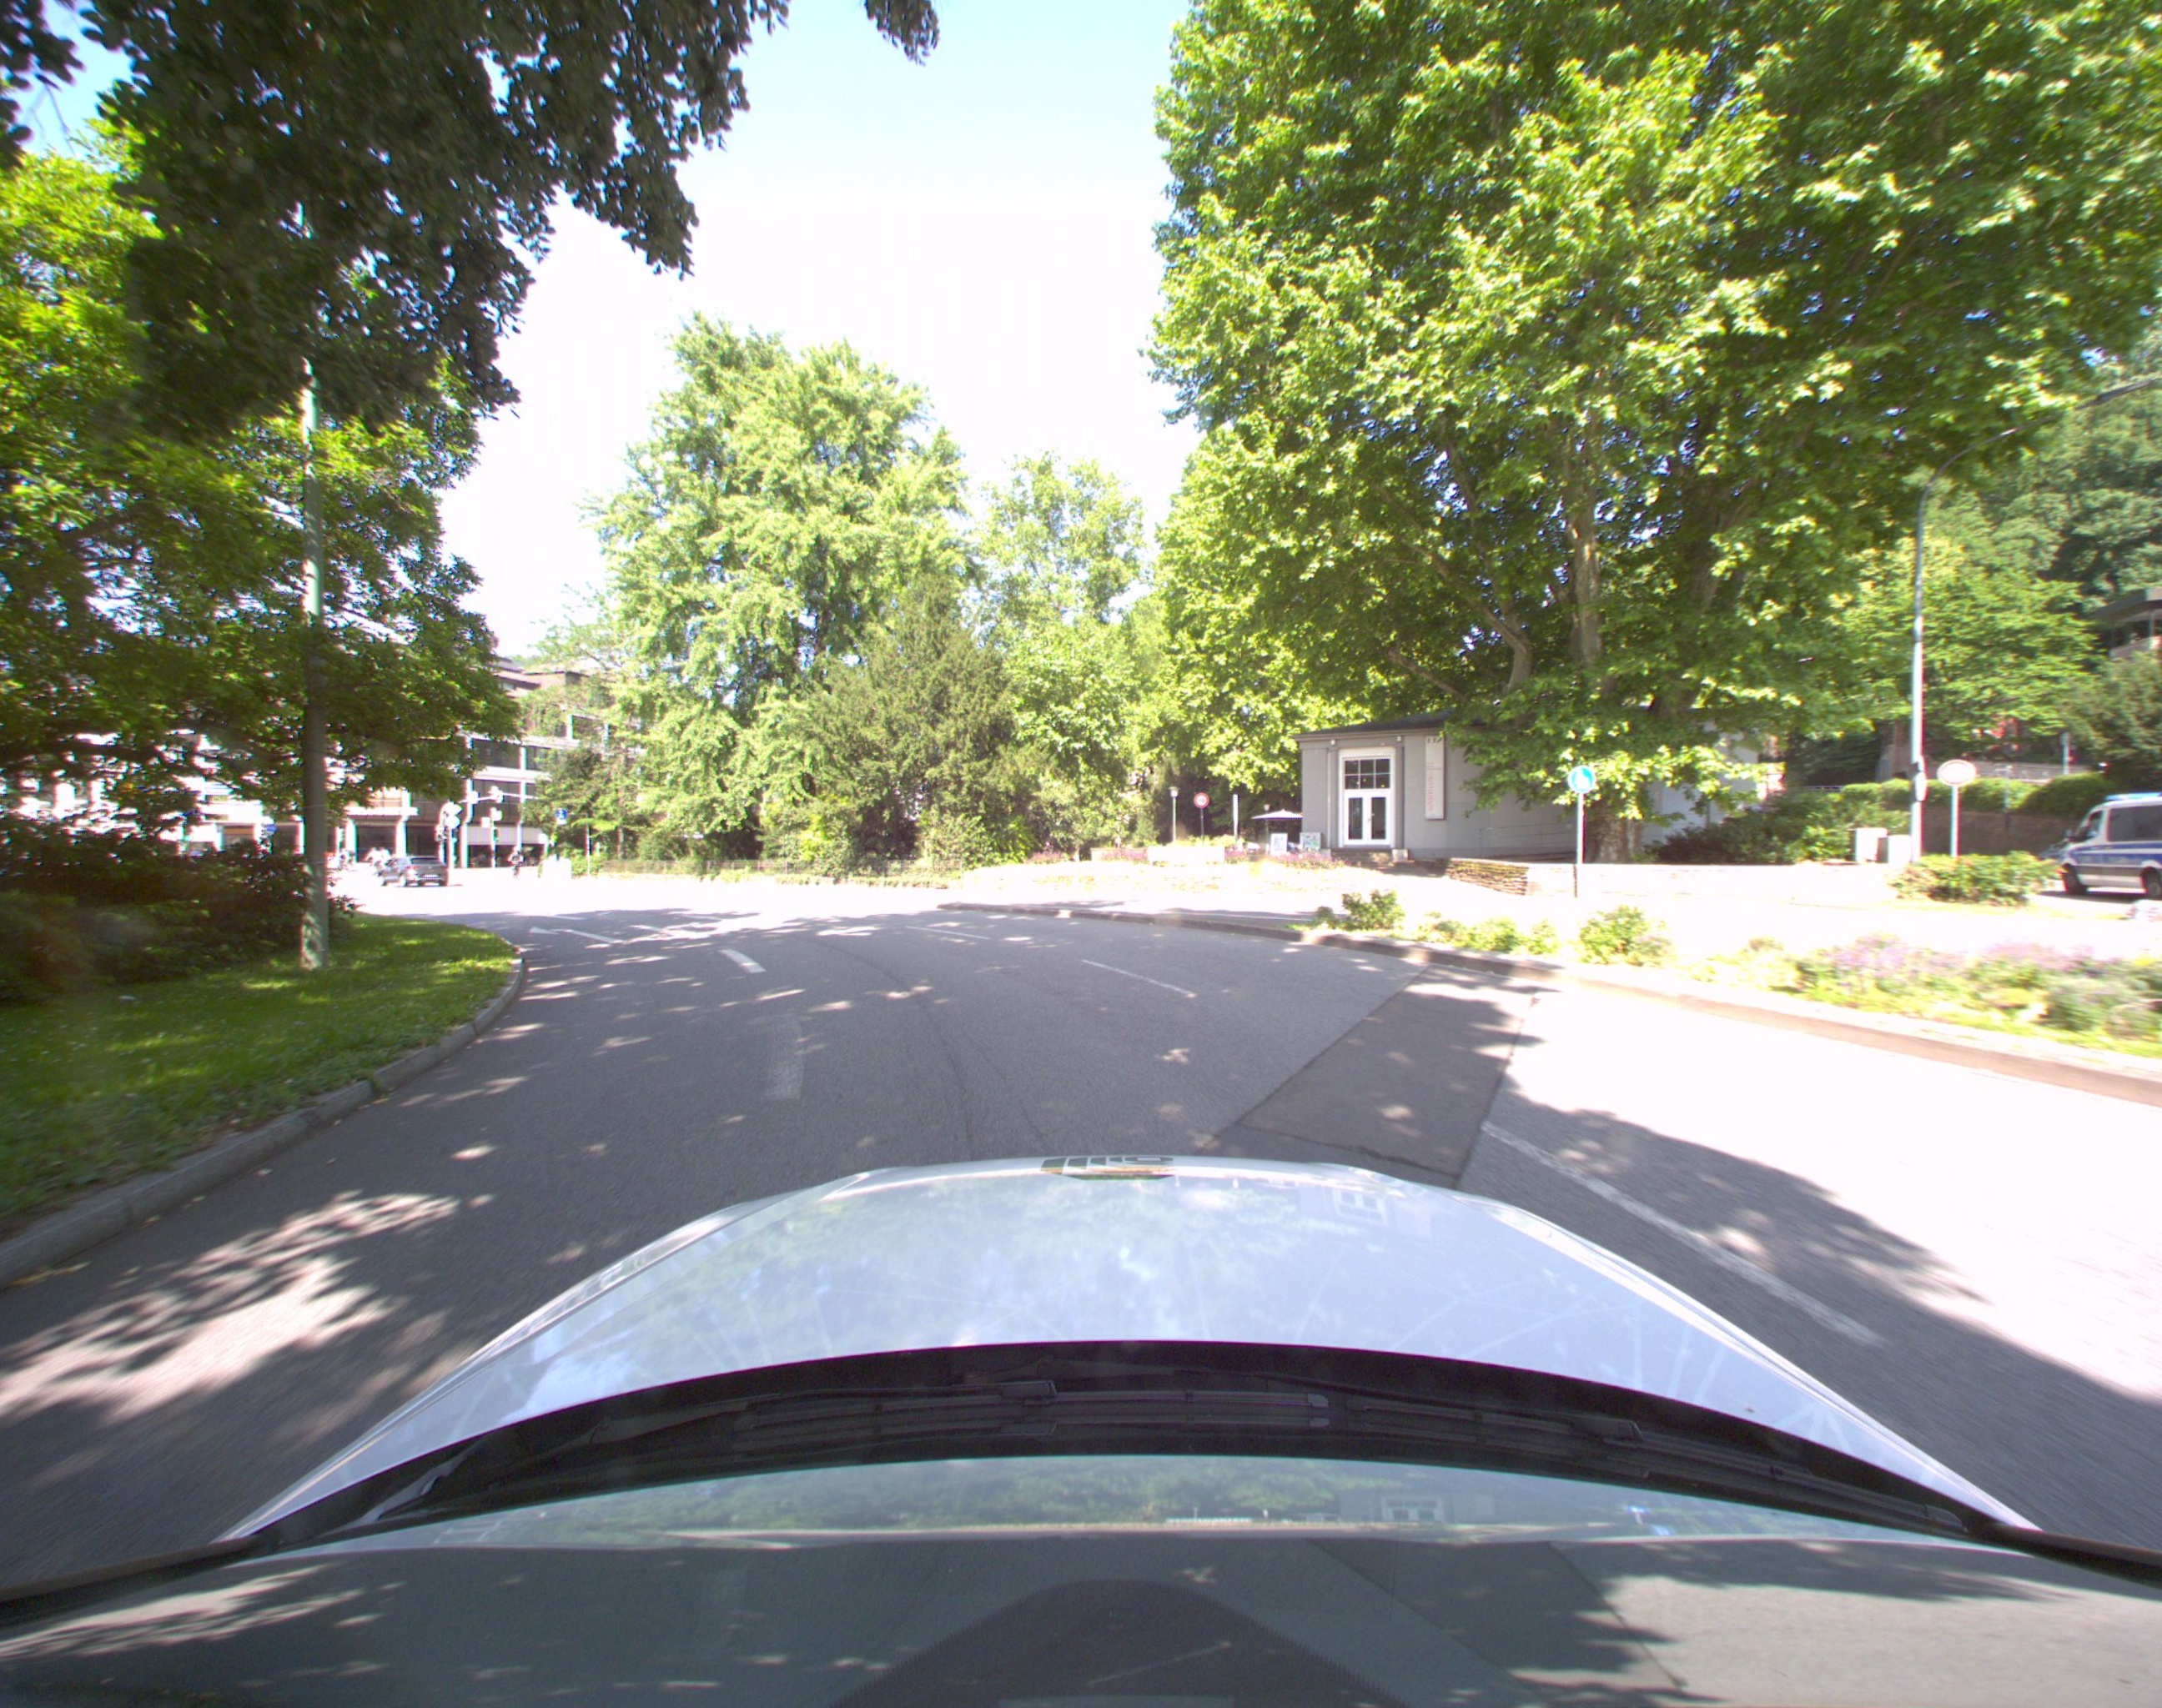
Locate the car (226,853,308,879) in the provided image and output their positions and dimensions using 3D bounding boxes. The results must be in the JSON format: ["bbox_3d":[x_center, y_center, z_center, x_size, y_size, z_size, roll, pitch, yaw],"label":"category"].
[{"bbox_3d":[-46.913,0.682,46.939,3.749,1.409,1.841,-1,1,19],"label":"car"}]

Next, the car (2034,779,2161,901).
[{"bbox_3d":[24.417,-0.290,18.491,2.053,2.508,4.960,1,1,30],"label":"car"}]

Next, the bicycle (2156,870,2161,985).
[{"bbox_3d":[11.300,0.722,7.228,0.759,1.112,2.063,0,1,-31],"label":"bicycle"}]

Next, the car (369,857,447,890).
[{"bbox_3d":[-33.455,0.935,40.483,4.029,1.537,1.966,-1,1,35],"label":"car"}]

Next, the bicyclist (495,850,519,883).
[{"bbox_3d":[-32.291,0.703,45.802,1.115,1.796,0.867,1,0,41],"label":"bicyclist"}]

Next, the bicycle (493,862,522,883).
[{"bbox_3d":[-32.258,1.030,45.767,2.057,1.160,0.862,0,1,41],"label":"bicycle"}]

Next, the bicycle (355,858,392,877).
[{"bbox_3d":[-45.263,0.875,52.103,2.299,1.180,0.734,0,0,20],"label":"bicycle"}]

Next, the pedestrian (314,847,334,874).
[{"bbox_3d":[-54.892,0.444,59.048,0.819,1.958,0.777,0,1,21],"label":"pedestrian"}]

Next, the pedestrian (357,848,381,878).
[{"bbox_3d":[-44.078,0.540,50.423,0.819,1.812,0.777,0,1,21],"label":"pedestrian"}]

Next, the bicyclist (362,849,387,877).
[{"bbox_3d":[-45.167,0.582,52.063,1.116,1.747,0.757,0,0,20],"label":"bicyclist"}]

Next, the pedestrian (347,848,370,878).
[{"bbox_3d":[-45.038,0.548,50.774,0.819,1.812,0.777,0,1,21],"label":"pedestrian"}]
